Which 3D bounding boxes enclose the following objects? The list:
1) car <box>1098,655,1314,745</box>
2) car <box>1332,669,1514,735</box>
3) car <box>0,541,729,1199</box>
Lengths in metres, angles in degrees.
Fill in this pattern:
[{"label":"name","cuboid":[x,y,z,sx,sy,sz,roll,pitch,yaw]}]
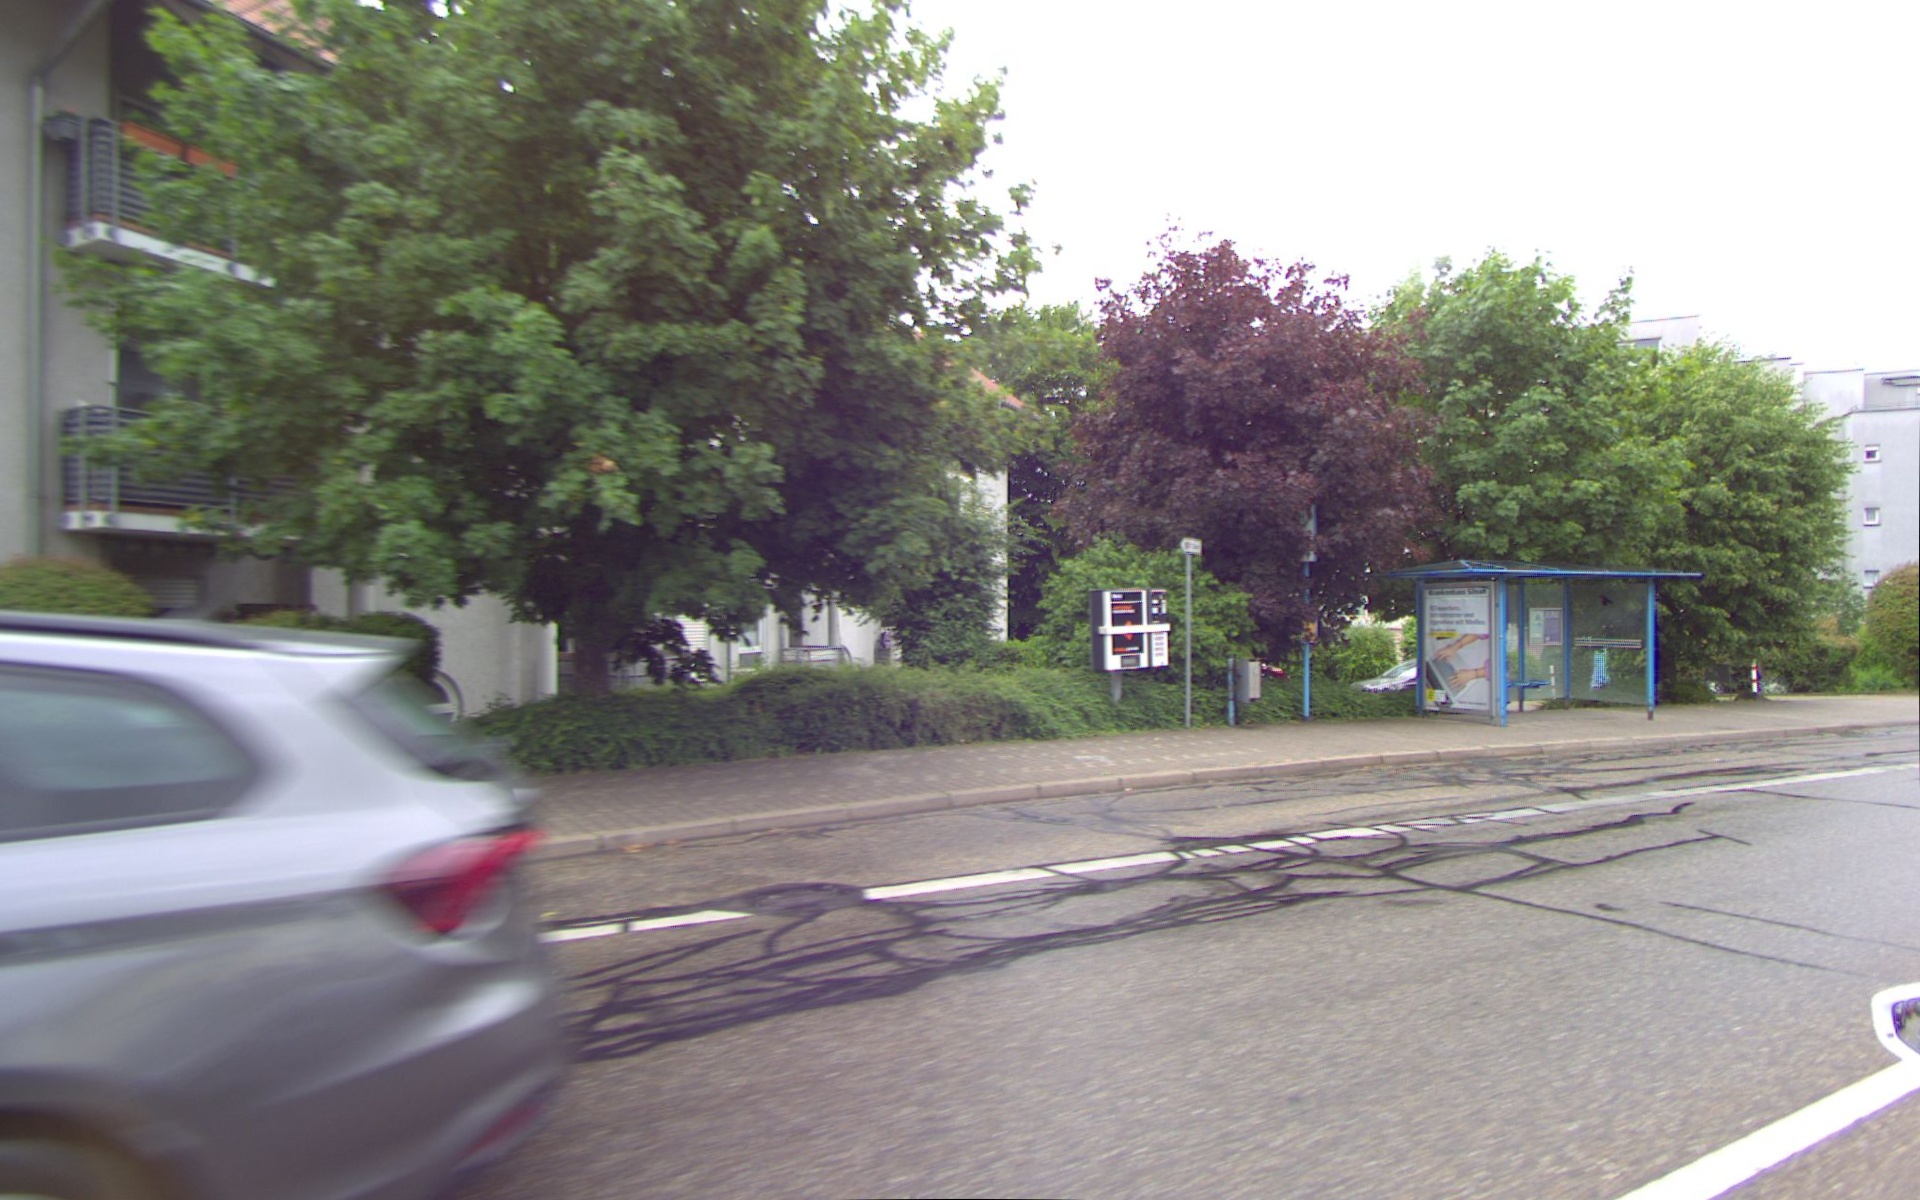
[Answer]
[{"label":"car","cuboid":[4.769,1.845,19.371,3.954,1.483,1.760,2,-1,-31]},{"label":"car","cuboid":[11.734,2.532,25.484,4.108,1.440,1.989,1,-2,-24]},{"label":"car","cuboid":[-2.740,0.667,1.888,4.198,1.493,1.768,1,-2,-29]}]
